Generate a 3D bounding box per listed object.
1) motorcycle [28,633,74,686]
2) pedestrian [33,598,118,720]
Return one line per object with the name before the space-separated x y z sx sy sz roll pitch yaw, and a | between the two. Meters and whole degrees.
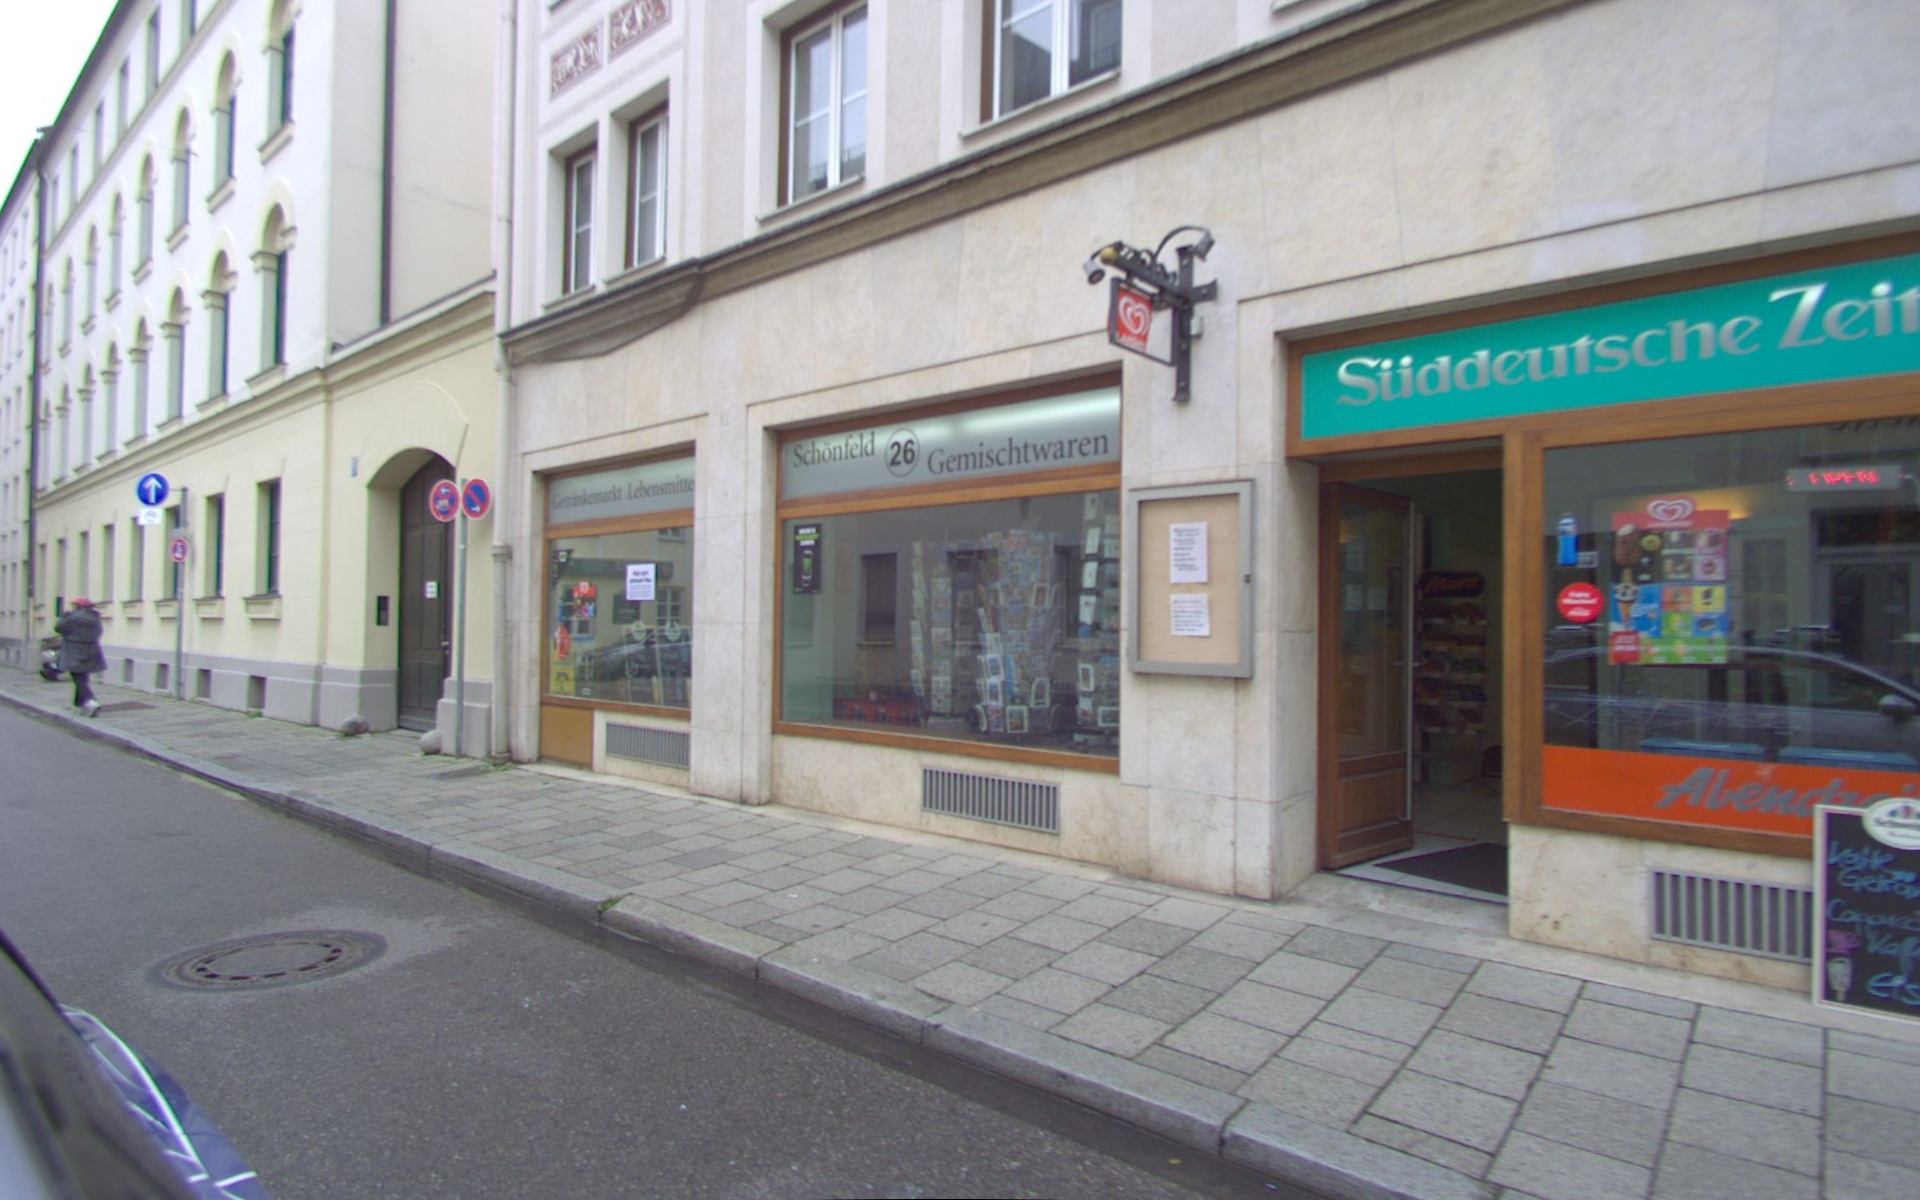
motorcycle | -21.420 1.387 23.833 1.708 1.183 0.596 -1 -2 41
pedestrian | -13.372 0.877 15.299 0.988 1.769 0.801 -3 -3 38
